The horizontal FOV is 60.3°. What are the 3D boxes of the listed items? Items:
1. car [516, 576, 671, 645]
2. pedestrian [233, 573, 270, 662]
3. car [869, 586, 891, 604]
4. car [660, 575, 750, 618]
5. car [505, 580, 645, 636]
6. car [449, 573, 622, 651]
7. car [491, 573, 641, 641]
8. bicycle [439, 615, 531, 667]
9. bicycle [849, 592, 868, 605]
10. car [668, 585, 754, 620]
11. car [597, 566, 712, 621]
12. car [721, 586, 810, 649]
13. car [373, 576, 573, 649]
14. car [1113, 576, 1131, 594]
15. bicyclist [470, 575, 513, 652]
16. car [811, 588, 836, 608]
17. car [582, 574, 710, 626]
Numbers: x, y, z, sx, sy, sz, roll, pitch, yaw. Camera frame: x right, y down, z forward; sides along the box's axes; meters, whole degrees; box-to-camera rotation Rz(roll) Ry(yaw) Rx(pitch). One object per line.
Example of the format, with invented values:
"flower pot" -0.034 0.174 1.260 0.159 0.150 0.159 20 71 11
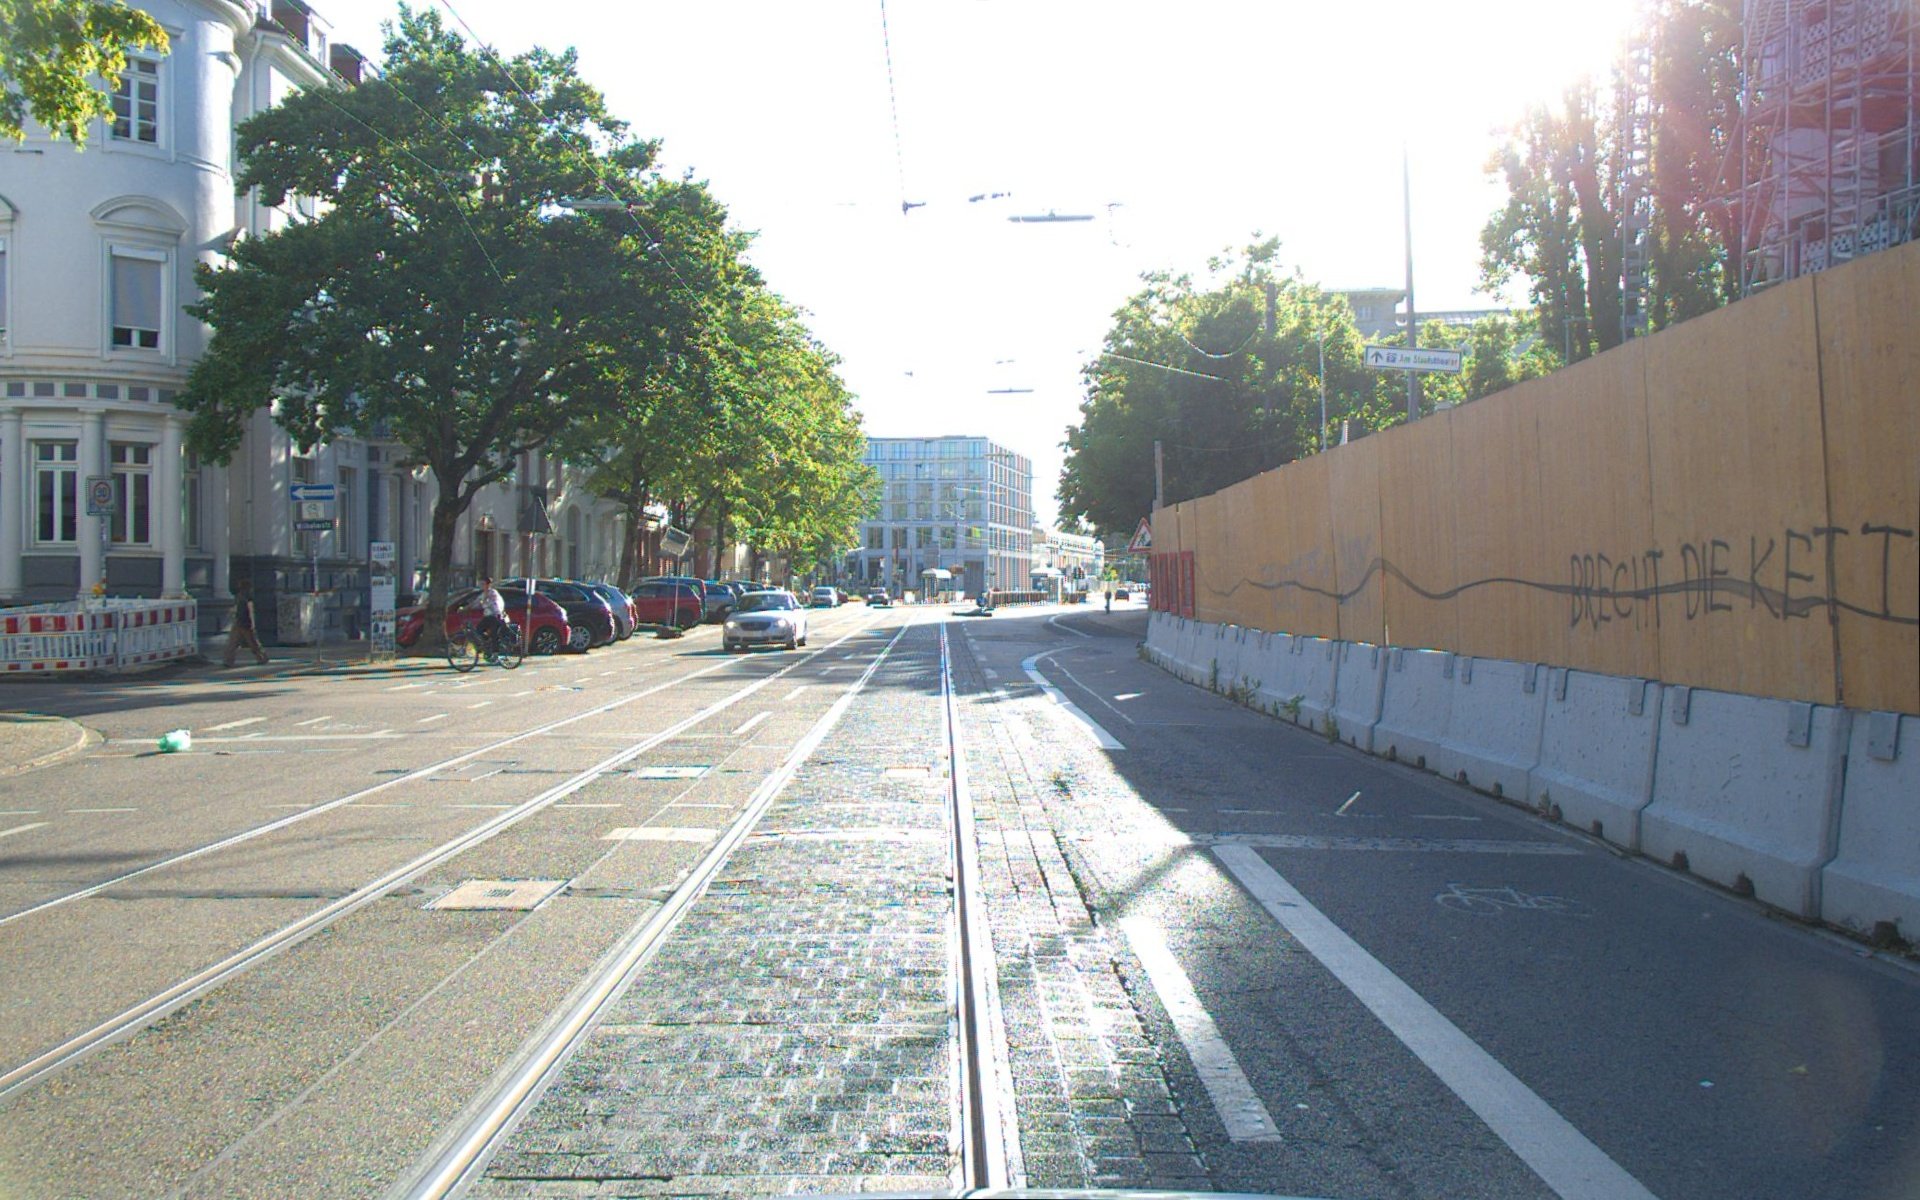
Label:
"car" -9.354 0.242 42.283 3.524 1.691 1.717 0 0 -34
"pedestrian" -12.747 0.308 29.759 0.338 1.600 0.511 0 0 27
"car" -6.920 -0.412 143.672 1.525 1.557 4.002 0 0 3
"car" -10.361 -0.127 67.264 3.335 1.727 1.392 0 0 -29
"car" -11.017 0.201 47.442 3.645 1.554 1.465 -1 1 -36
"car" -9.987 0.254 38.997 3.645 1.751 1.591 -1 1 -36
"car" -10.587 0.165 44.535 3.645 1.751 1.591 -1 1 -36
"bicycle" -8.737 0.740 30.501 0.440 0.896 1.899 0 1 27
"bicycle" -9.677 -0.150 157.888 1.760 1.245 0.598 0 0 -9
"car" -10.519 0.088 69.991 3.335 1.444 1.392 0 0 -29
"car" -11.161 -0.231 60.465 3.789 1.864 1.714 2 -1 -31
"car" -4.789 0.399 41.203 1.674 1.461 4.171 0 1 1
"car" -10.570 0.283 35.963 3.867 1.478 1.619 2 -1 -35
"car" 18.747 -1.763 191.032 1.951 2.049 4.003 0 1 6
"bicyclist" -8.663 0.244 30.598 0.449 1.402 0.640 0 0 28
"car" -10.184 -0.166 123.777 1.540 1.516 4.000 0 0 0
"car" -10.885 -0.011 57.401 4.112 1.751 1.569 0 0 -28
